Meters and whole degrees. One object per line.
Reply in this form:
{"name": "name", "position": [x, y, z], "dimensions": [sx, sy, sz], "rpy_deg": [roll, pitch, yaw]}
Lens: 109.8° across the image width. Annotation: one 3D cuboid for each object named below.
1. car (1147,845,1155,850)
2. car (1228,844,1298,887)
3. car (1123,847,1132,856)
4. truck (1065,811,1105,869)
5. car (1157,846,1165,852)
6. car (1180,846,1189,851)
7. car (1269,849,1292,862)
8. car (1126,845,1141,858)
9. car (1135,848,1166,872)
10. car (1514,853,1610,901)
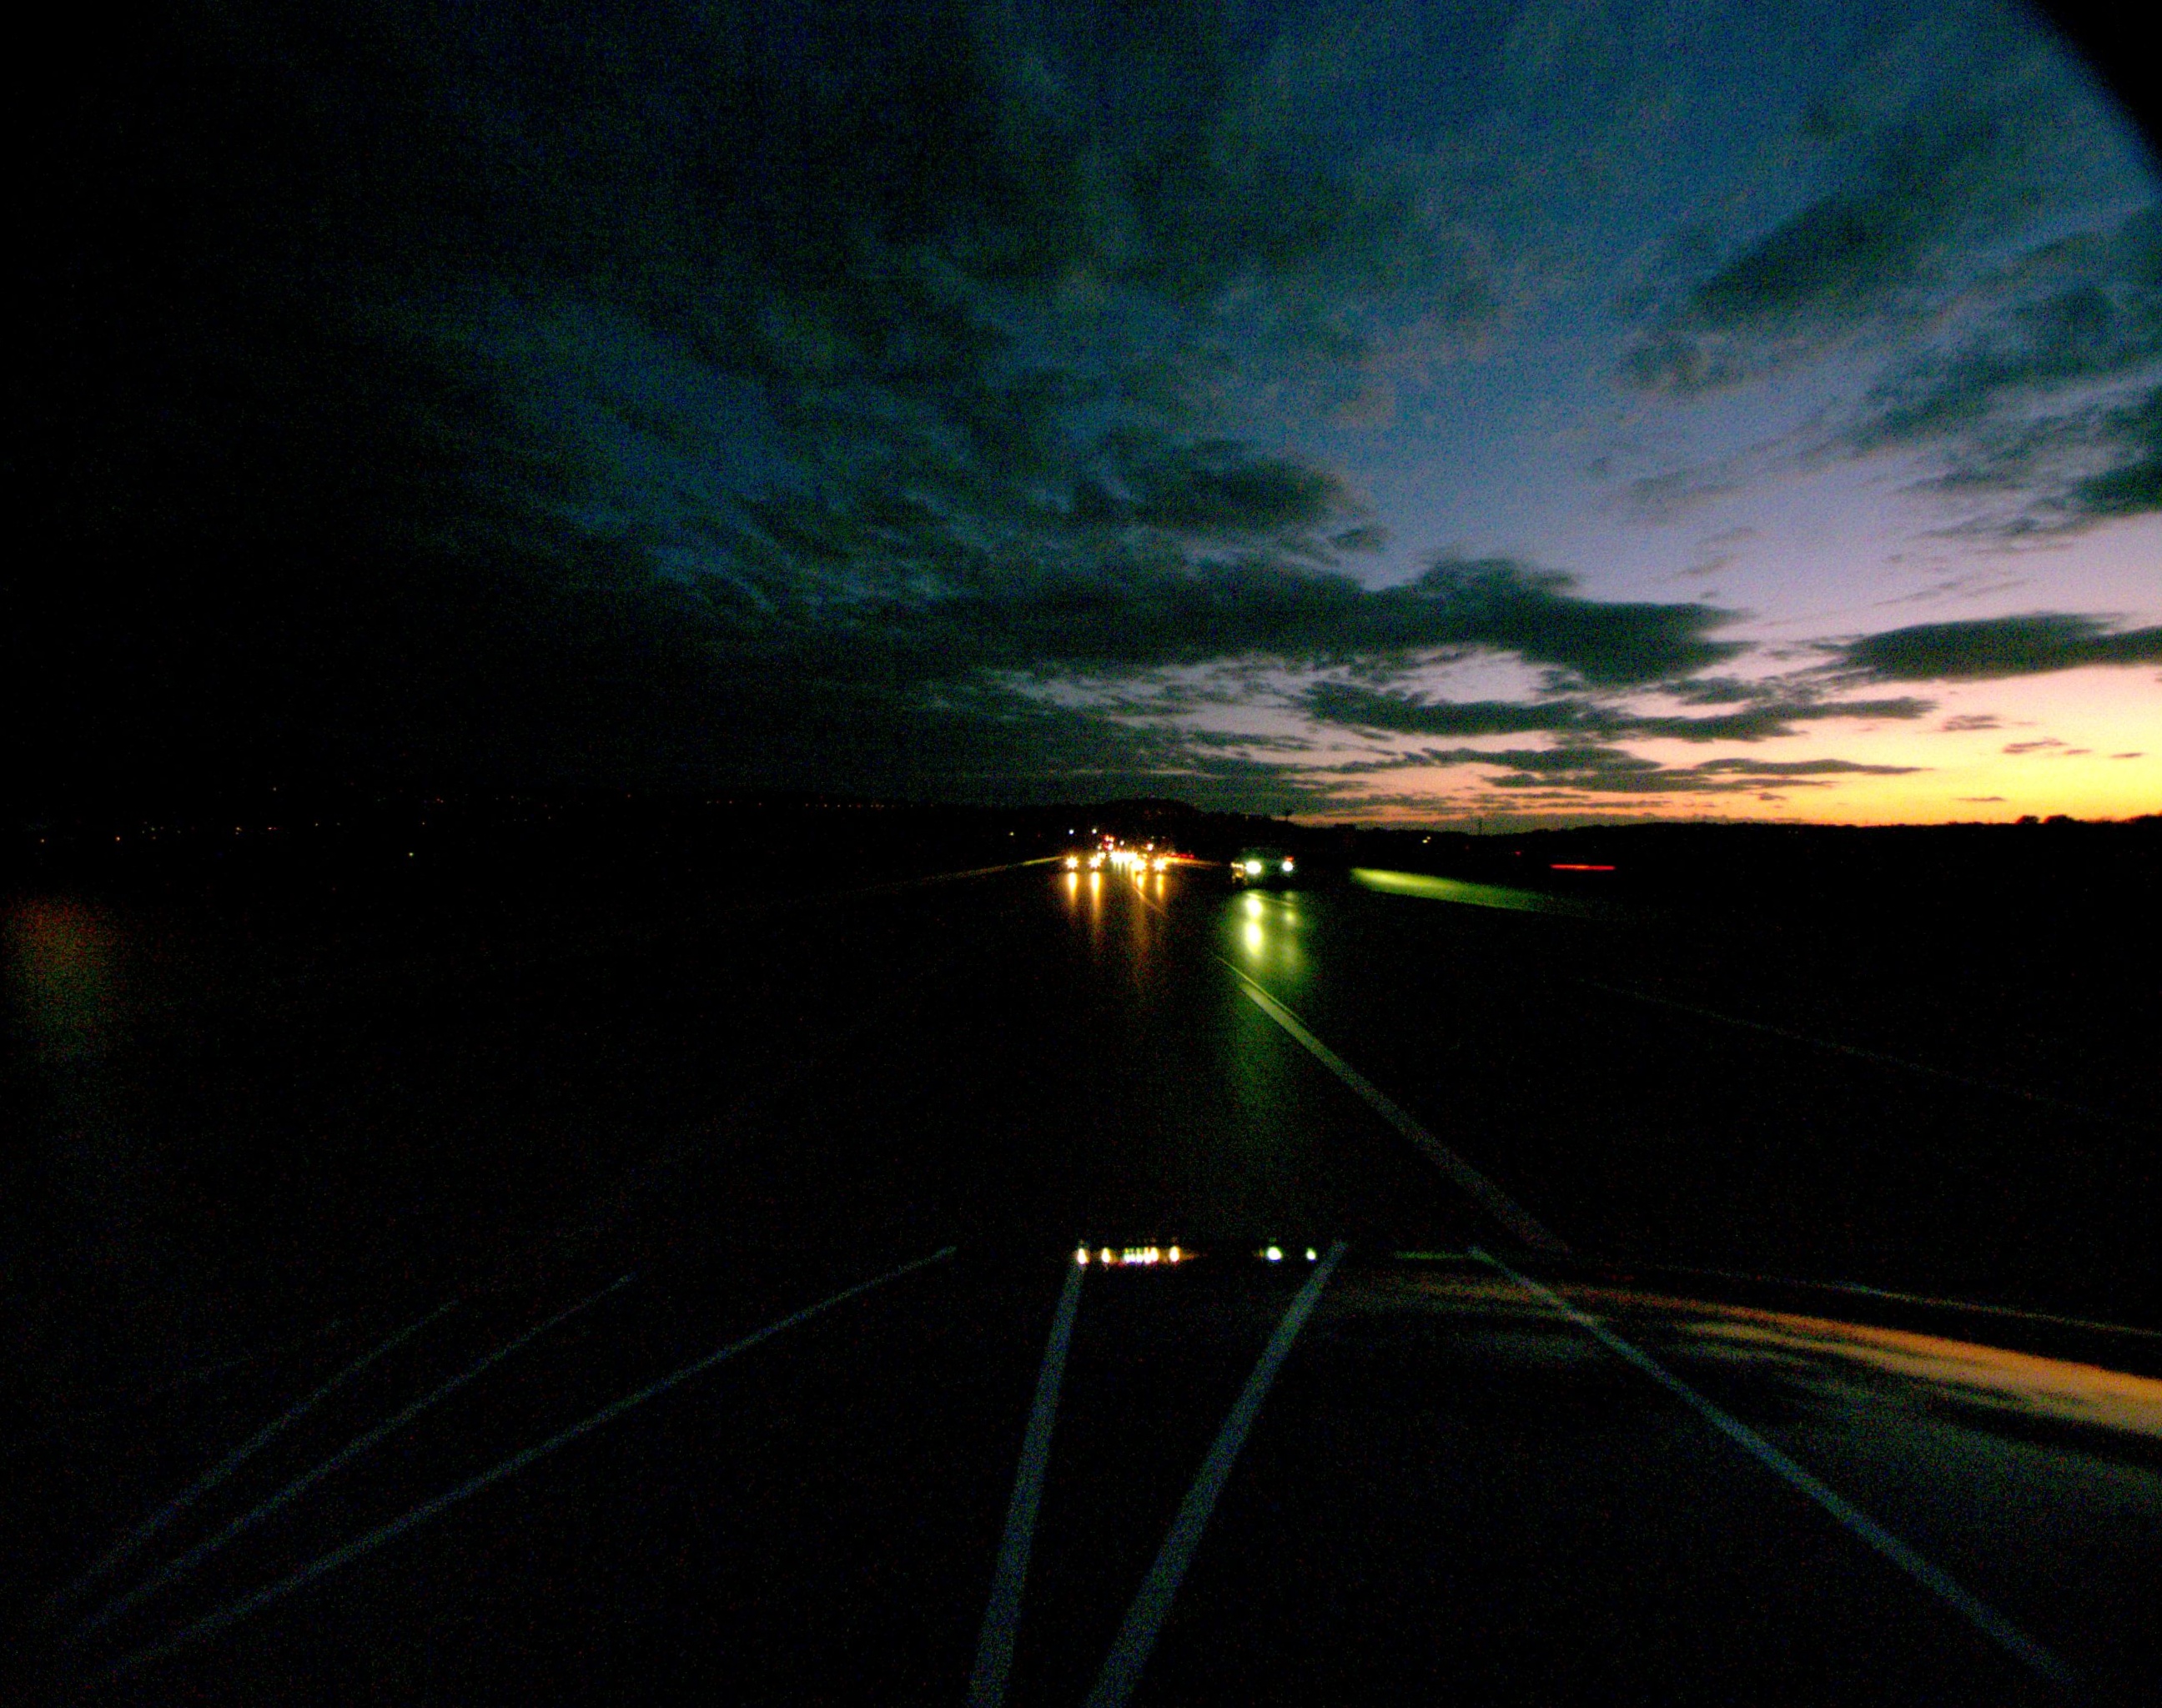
{"name": "car", "position": [19.272, -1.750, 209.653], "dimensions": [1.649, 1.445, 3.999], "rpy_deg": [-2, 1, 1]}
{"name": "car", "position": [7.692, 0.439, 32.573], "dimensions": [1.819, 1.638, 4.856], "rpy_deg": [-2, 1, 1]}
{"name": "car", "position": [10.295, -0.580, 169.197], "dimensions": [1.862, 1.826, 3.999], "rpy_deg": [-2, 1, 1]}
{"name": "truck", "position": [0.425, -1.137, 67.667], "dimensions": [3.012, 4.570, 12.578], "rpy_deg": [-2, 0, 1]}
{"name": "car", "position": [19.001, -1.148, 180.493], "dimensions": [1.670, 1.211, 3.999], "rpy_deg": [-2, 1, 1]}
{"name": "car", "position": [23.991, -1.233, 176.415], "dimensions": [1.670, 1.174, 3.999], "rpy_deg": [-2, 1, 1]}
{"name": "car", "position": [24.203, 0.154, 92.269], "dimensions": [1.662, 1.526, 4.519], "rpy_deg": [-2, 1, 1]}
{"name": "car", "position": [7.550, -0.357, 109.552], "dimensions": [1.862, 1.826, 3.999], "rpy_deg": [-2, 1, 1]}
{"name": "car", "position": [4.883, 0.396, 53.814], "dimensions": [1.802, 1.531, 4.159], "rpy_deg": [-2, 1, 1]}
{"name": "car", "position": [22.709, 1.008, 36.063], "dimensions": [1.778, 2.002, 4.418], "rpy_deg": [-2, 1, 1]}
